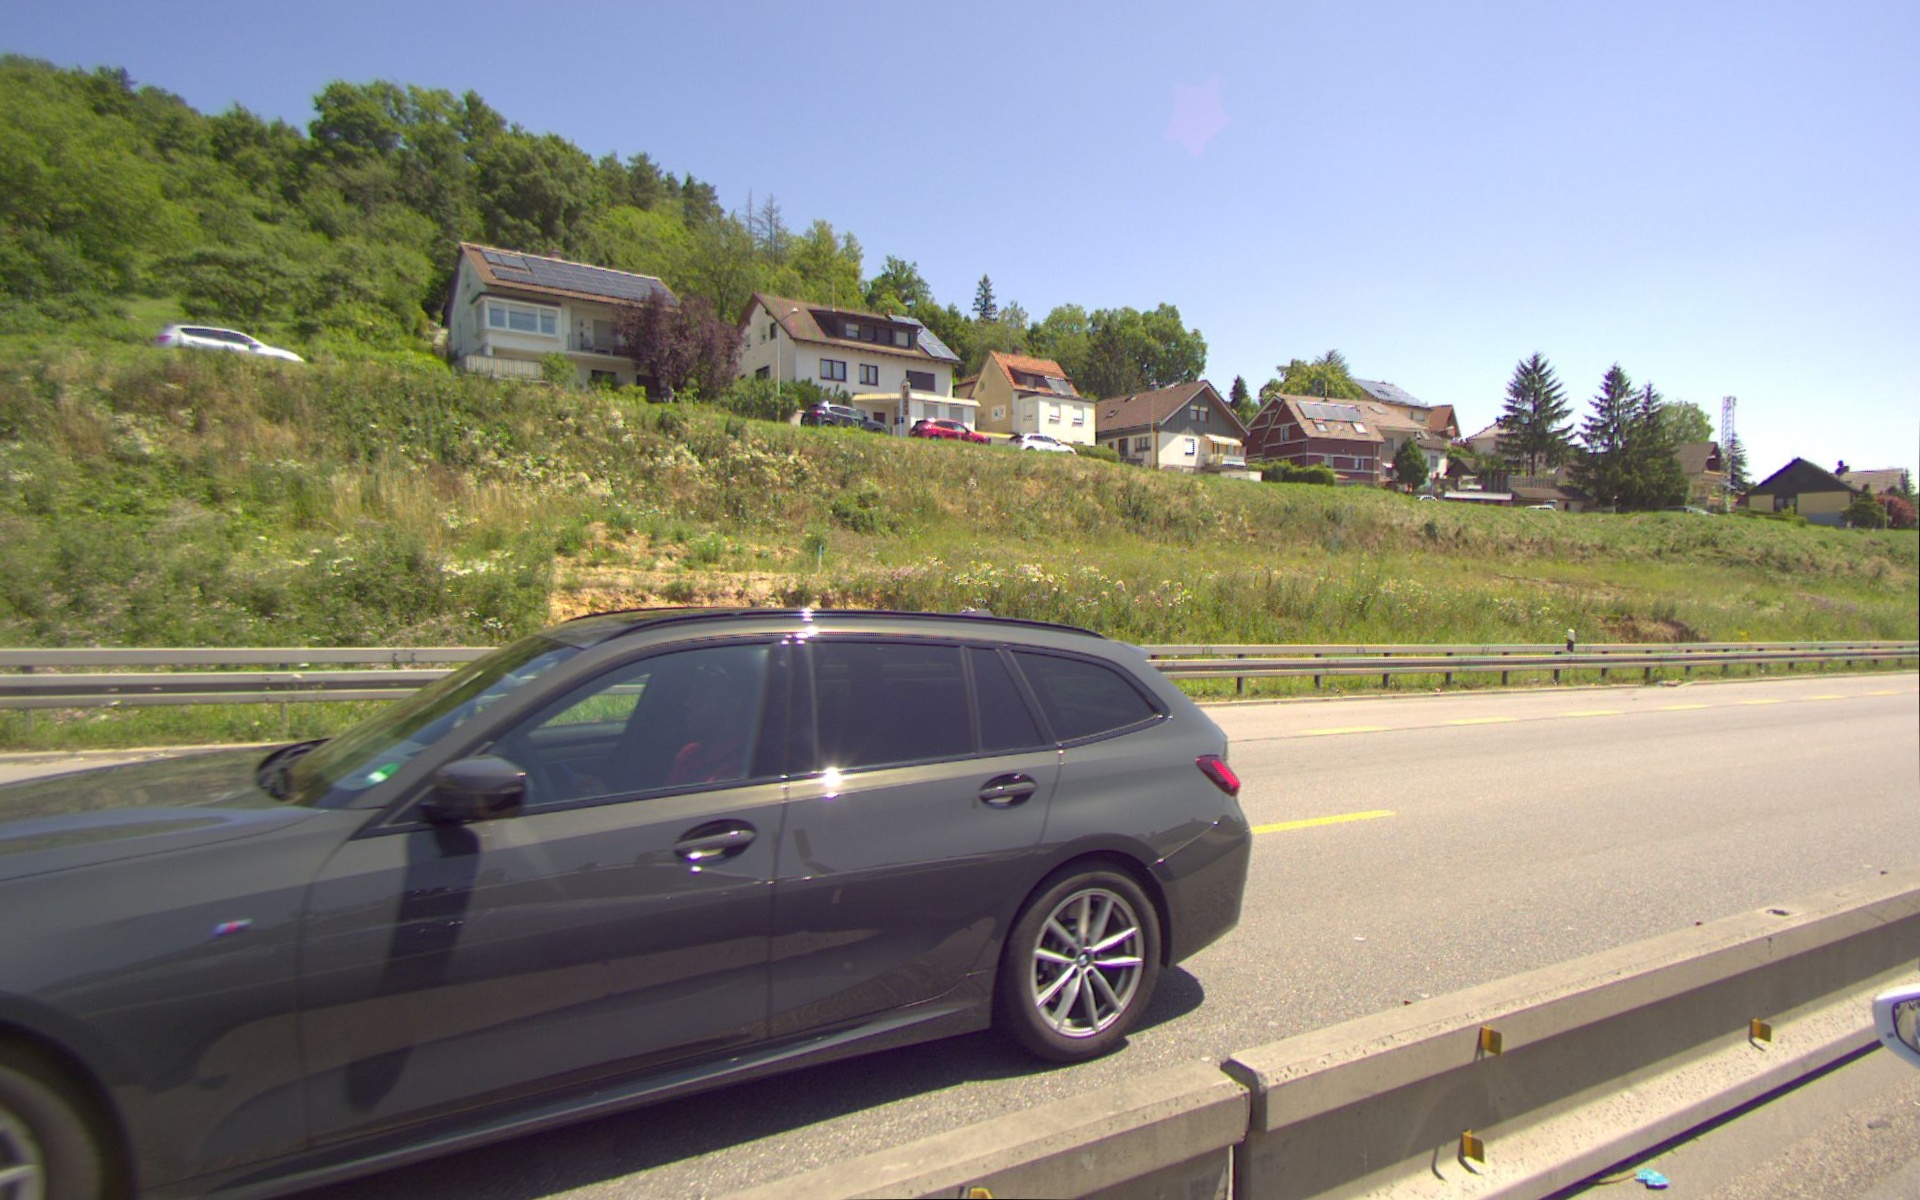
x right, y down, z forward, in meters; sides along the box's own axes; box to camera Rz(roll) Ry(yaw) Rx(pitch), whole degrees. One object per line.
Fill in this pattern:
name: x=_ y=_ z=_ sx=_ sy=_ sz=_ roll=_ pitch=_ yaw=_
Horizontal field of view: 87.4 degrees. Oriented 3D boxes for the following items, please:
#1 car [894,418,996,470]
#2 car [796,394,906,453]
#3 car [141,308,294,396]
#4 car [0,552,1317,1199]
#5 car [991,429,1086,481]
car: x=-0.755 y=-8.035 z=52.082 sx=4.751 sy=1.817 sz=2.334 roll=3 pitch=-1 yaw=-34
car: x=-5.098 y=-8.256 z=47.397 sx=4.720 sy=1.817 sz=2.162 roll=3 pitch=-1 yaw=-37
car: x=-24.683 y=-8.199 z=33.534 sx=3.963 sy=1.817 sz=1.979 roll=3 pitch=-1 yaw=-37
car: x=-0.998 y=0.696 z=3.320 sx=4.304 sy=1.485 sz=1.789 roll=1 pitch=-1 yaw=-31
car: x=4.373 y=-7.969 z=55.634 sx=4.767 sy=2.068 sz=2.334 roll=2 pitch=-1 yaw=-33
